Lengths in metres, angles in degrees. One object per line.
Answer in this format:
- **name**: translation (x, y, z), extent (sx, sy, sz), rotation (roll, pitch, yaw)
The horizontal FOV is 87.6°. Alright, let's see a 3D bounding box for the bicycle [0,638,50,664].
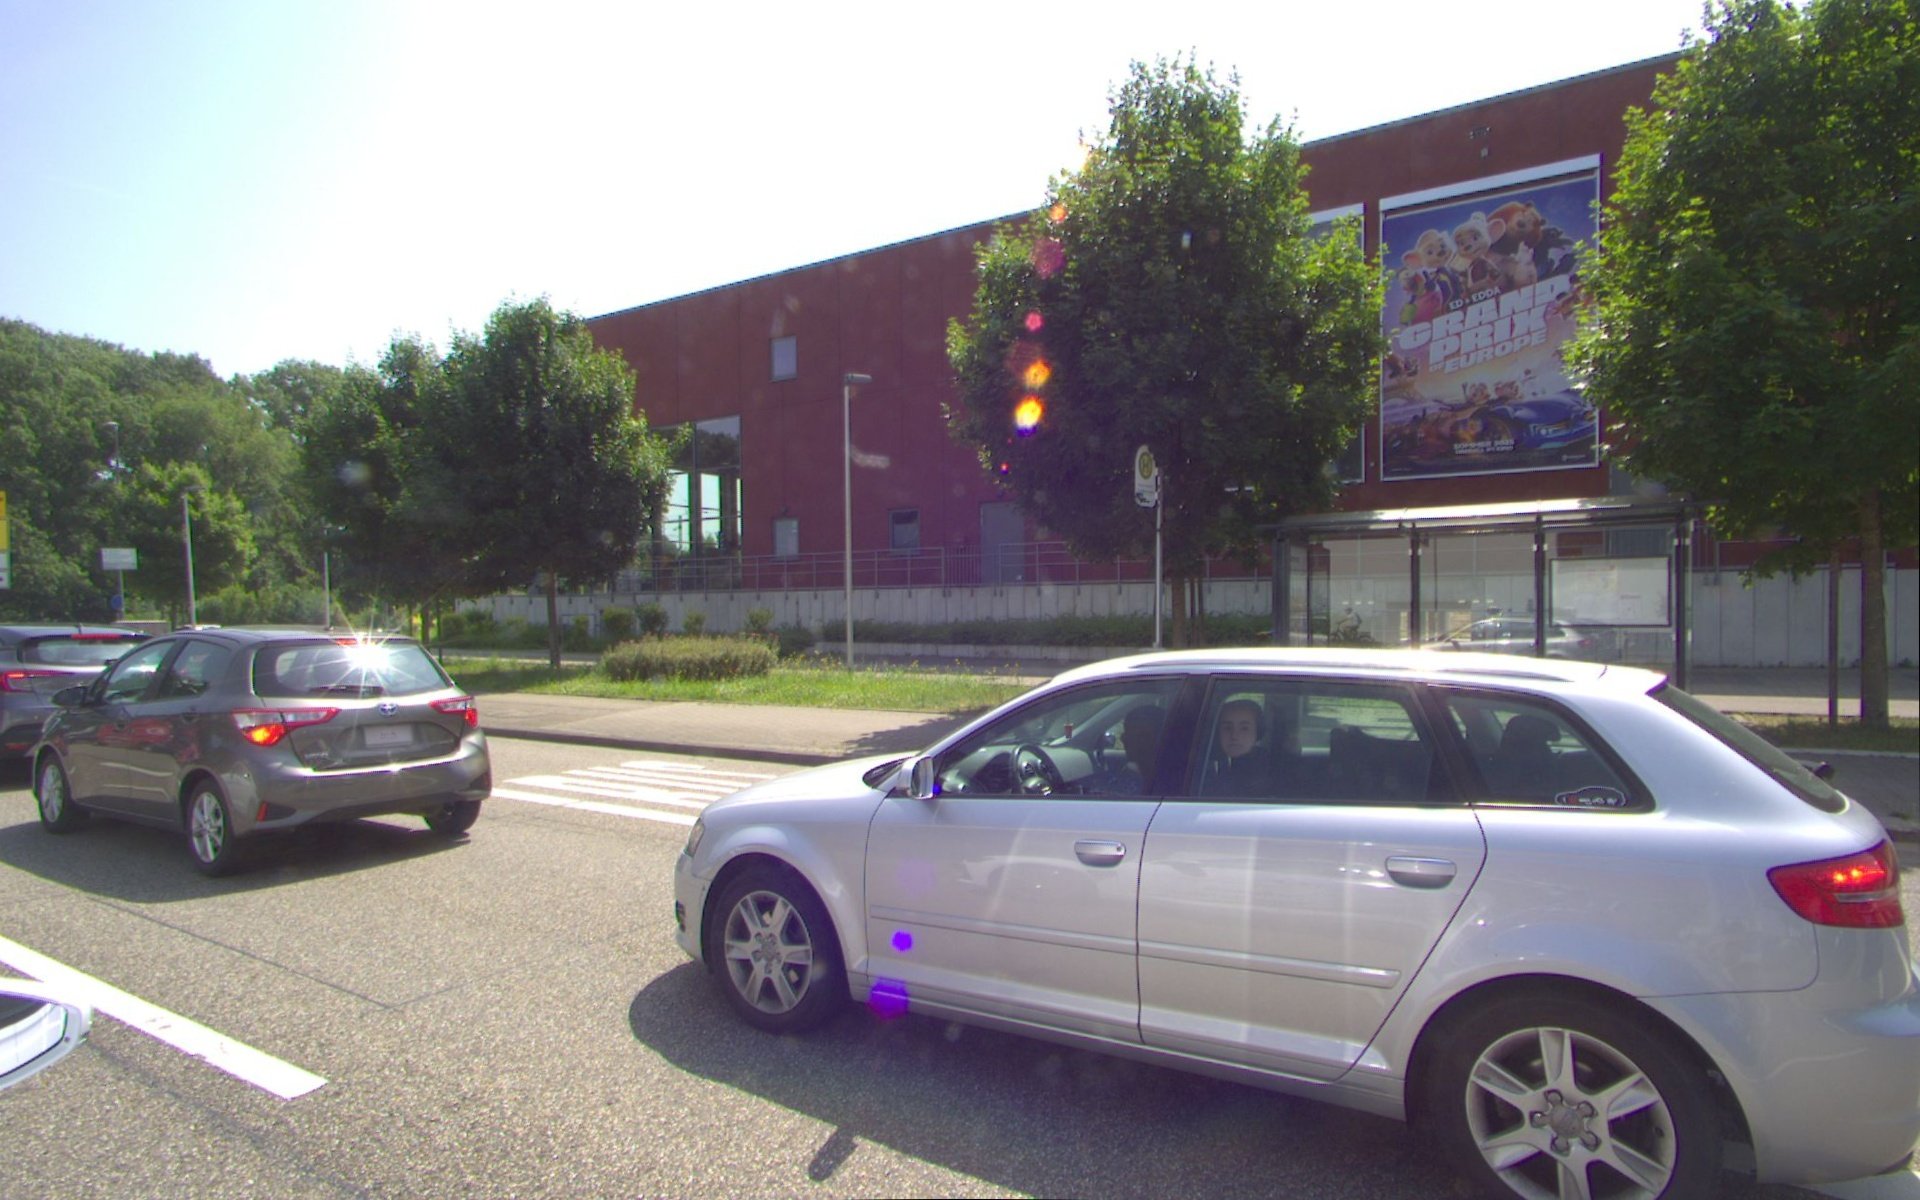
- **bicycle**: translation (-30.872, 1.650, 32.683), extent (0.589, 0.776, 1.827), rotation (-1, 0, 2)

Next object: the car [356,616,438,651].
- **car**: translation (-34.928, 2.061, 62.239), extent (1.972, 2.040, 3.978), rotation (0, 0, 32)

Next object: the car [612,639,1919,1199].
- **car**: translation (0.763, 0.854, 3.750), extent (4.031, 1.379, 1.710), rotation (-1, -2, 31)

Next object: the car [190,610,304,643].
- **car**: translation (-36.801, 1.350, 51.778), extent (1.772, 1.550, 4.463), rotation (-1, 0, 31)

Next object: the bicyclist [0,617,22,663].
- **bicyclist**: translation (-30.927, 1.292, 32.257), extent (0.587, 1.458, 0.829), rotation (-1, 1, 2)

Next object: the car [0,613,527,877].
- **car**: translation (-5.293, 0.902, 7.472), extent (4.031, 1.496, 1.711), rotation (-1, -4, 31)

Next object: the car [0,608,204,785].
- **car**: translation (-10.118, 0.921, 10.838), extent (4.031, 1.614, 1.709), rotation (-1, -1, 31)

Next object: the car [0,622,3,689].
- **car**: translation (-24.336, 1.294, 23.506), extent (4.031, 1.566, 1.709), rotation (-1, -1, 31)
